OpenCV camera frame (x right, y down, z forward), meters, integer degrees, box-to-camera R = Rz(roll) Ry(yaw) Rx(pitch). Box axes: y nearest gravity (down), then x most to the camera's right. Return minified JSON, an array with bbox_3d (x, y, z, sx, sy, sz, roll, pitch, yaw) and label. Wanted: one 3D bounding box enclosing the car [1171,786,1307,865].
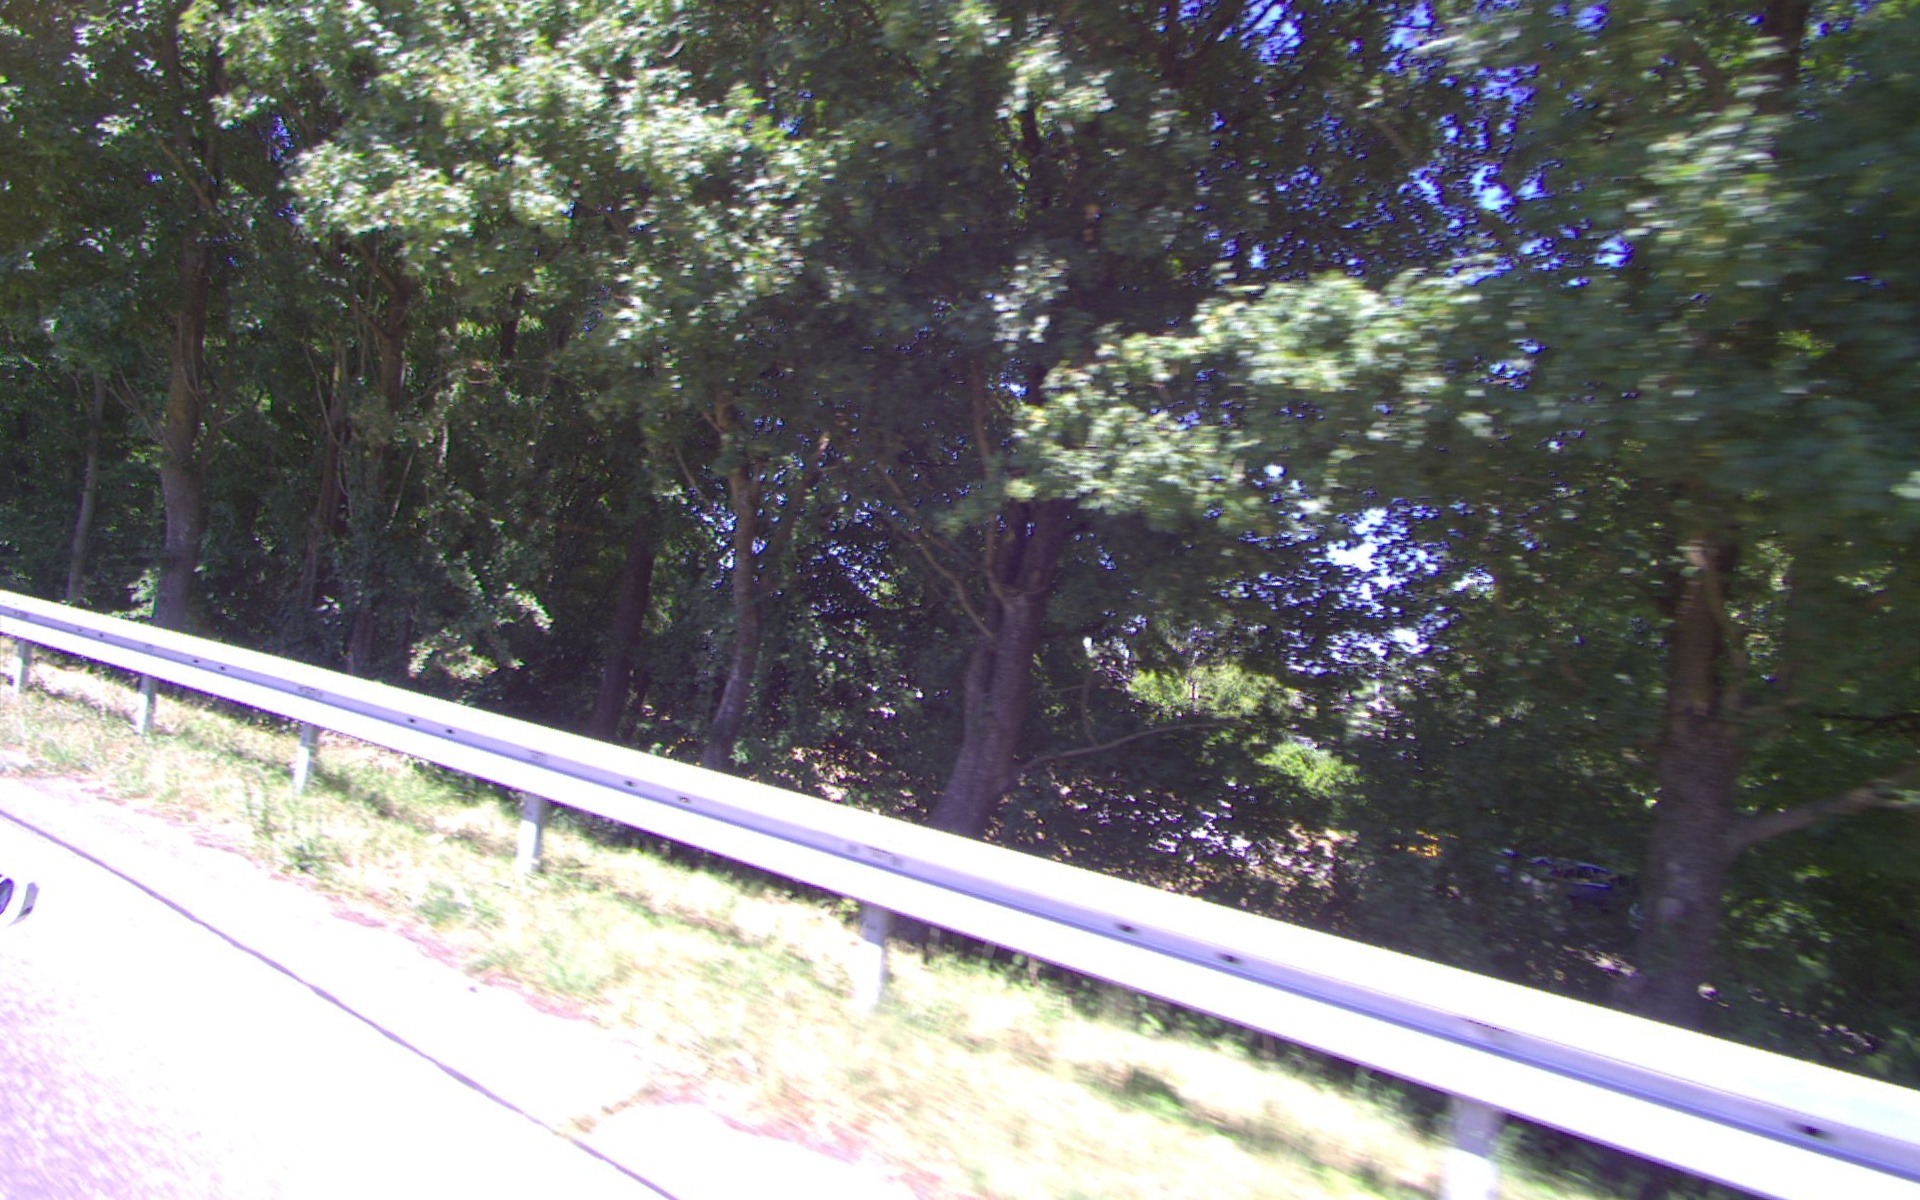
[{"bbox_3d":[9.495,7.684,34.240,3.952,2.037,1.989,9,-2,-25],"label":"car"}]
